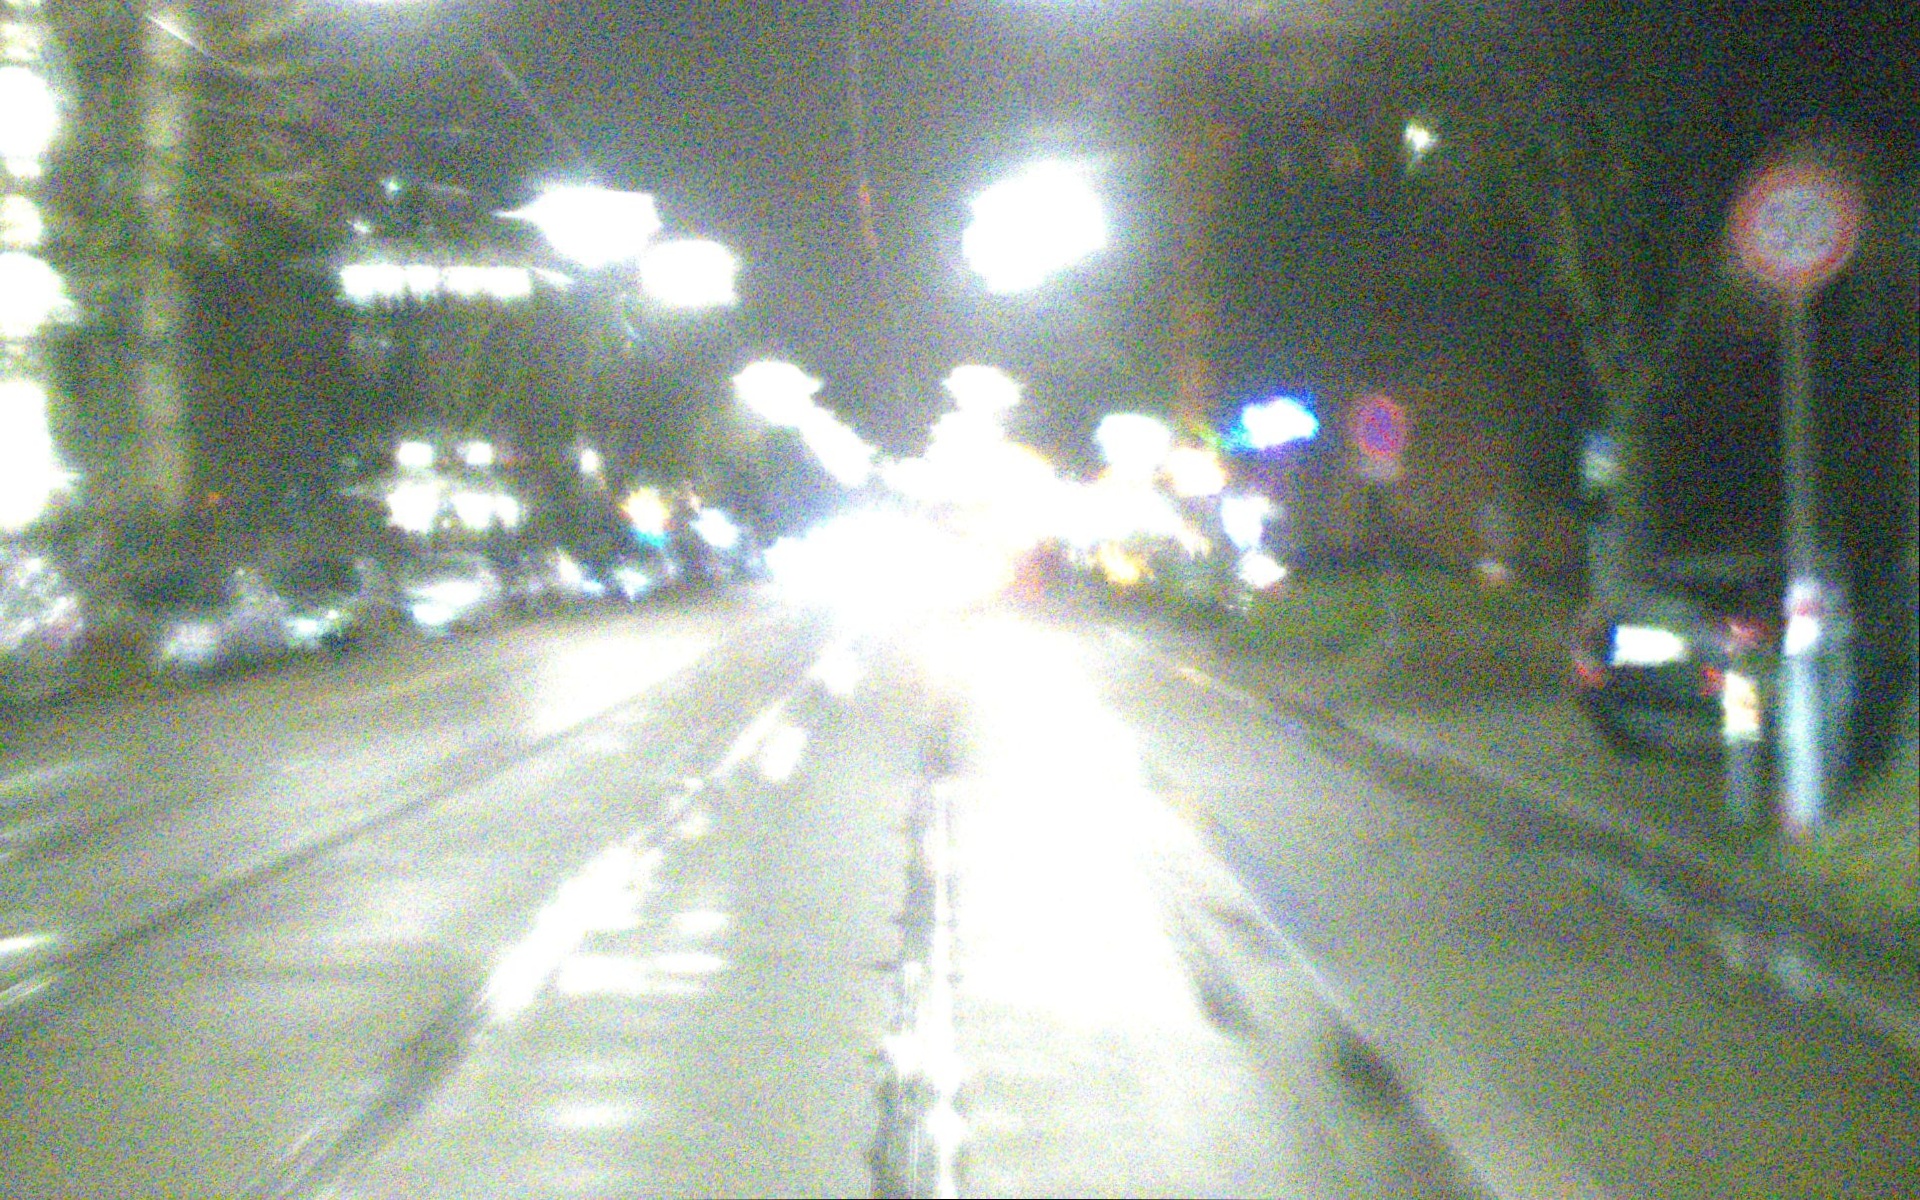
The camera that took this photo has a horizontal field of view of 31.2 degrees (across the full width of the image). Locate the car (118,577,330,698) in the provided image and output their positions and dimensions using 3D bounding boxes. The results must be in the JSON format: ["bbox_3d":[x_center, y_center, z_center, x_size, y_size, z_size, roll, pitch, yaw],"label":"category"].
[{"bbox_3d":[-9.369,0.441,44.093,1.731,1.433,4.626,1,1,0],"label":"car"}]

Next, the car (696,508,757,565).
[{"bbox_3d":[-10.841,-2.985,160.253,2.185,2.583,6.392,1,1,2],"label":"car"}]

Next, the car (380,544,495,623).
[{"bbox_3d":[-9.796,-0.331,64.727,1.773,1.435,4.609,0,1,-4],"label":"car"}]

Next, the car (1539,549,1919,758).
[{"bbox_3d":[6.519,0.356,26.236,4.328,1.463,1.681,0,1,-39],"label":"car"}]

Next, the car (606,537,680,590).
[{"bbox_3d":[-10.170,-1.173,110.646,1.983,1.625,4.517,1,1,-1],"label":"car"}]

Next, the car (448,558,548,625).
[{"bbox_3d":[-9.954,-0.203,74.252,1.839,1.418,4.210,0,1,-3],"label":"car"}]

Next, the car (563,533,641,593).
[{"bbox_3d":[-10.071,-1.049,96.945,1.880,1.540,4.400,4,0,-3],"label":"car"}]

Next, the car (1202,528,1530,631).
[{"bbox_3d":[6.164,-0.326,52.226,4.584,1.470,1.840,-1,1,-20],"label":"car"}]

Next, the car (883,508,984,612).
[{"bbox_3d":[-0.657,-0.936,80.820,2.244,2.353,4.394,1,1,-2],"label":"car"}]

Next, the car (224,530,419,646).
[{"bbox_3d":[-9.809,-0.197,53.137,2.143,1.614,4.589,3,0,-1],"label":"car"}]

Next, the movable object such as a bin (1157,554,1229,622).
[{"bbox_3d":[4.915,-0.260,72.623,1.321,1.403,1.160,-1,0,-6],"label":"movable object such as a bin"}]

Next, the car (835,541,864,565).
[{"bbox_3d":[-7.302,-3.102,227.676,1.776,1.512,4.051,1,1,0],"label":"car"}]

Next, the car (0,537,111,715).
[{"bbox_3d":[-9.709,0.188,33.340,1.809,1.573,4.353,3,1,0],"label":"car"}]
